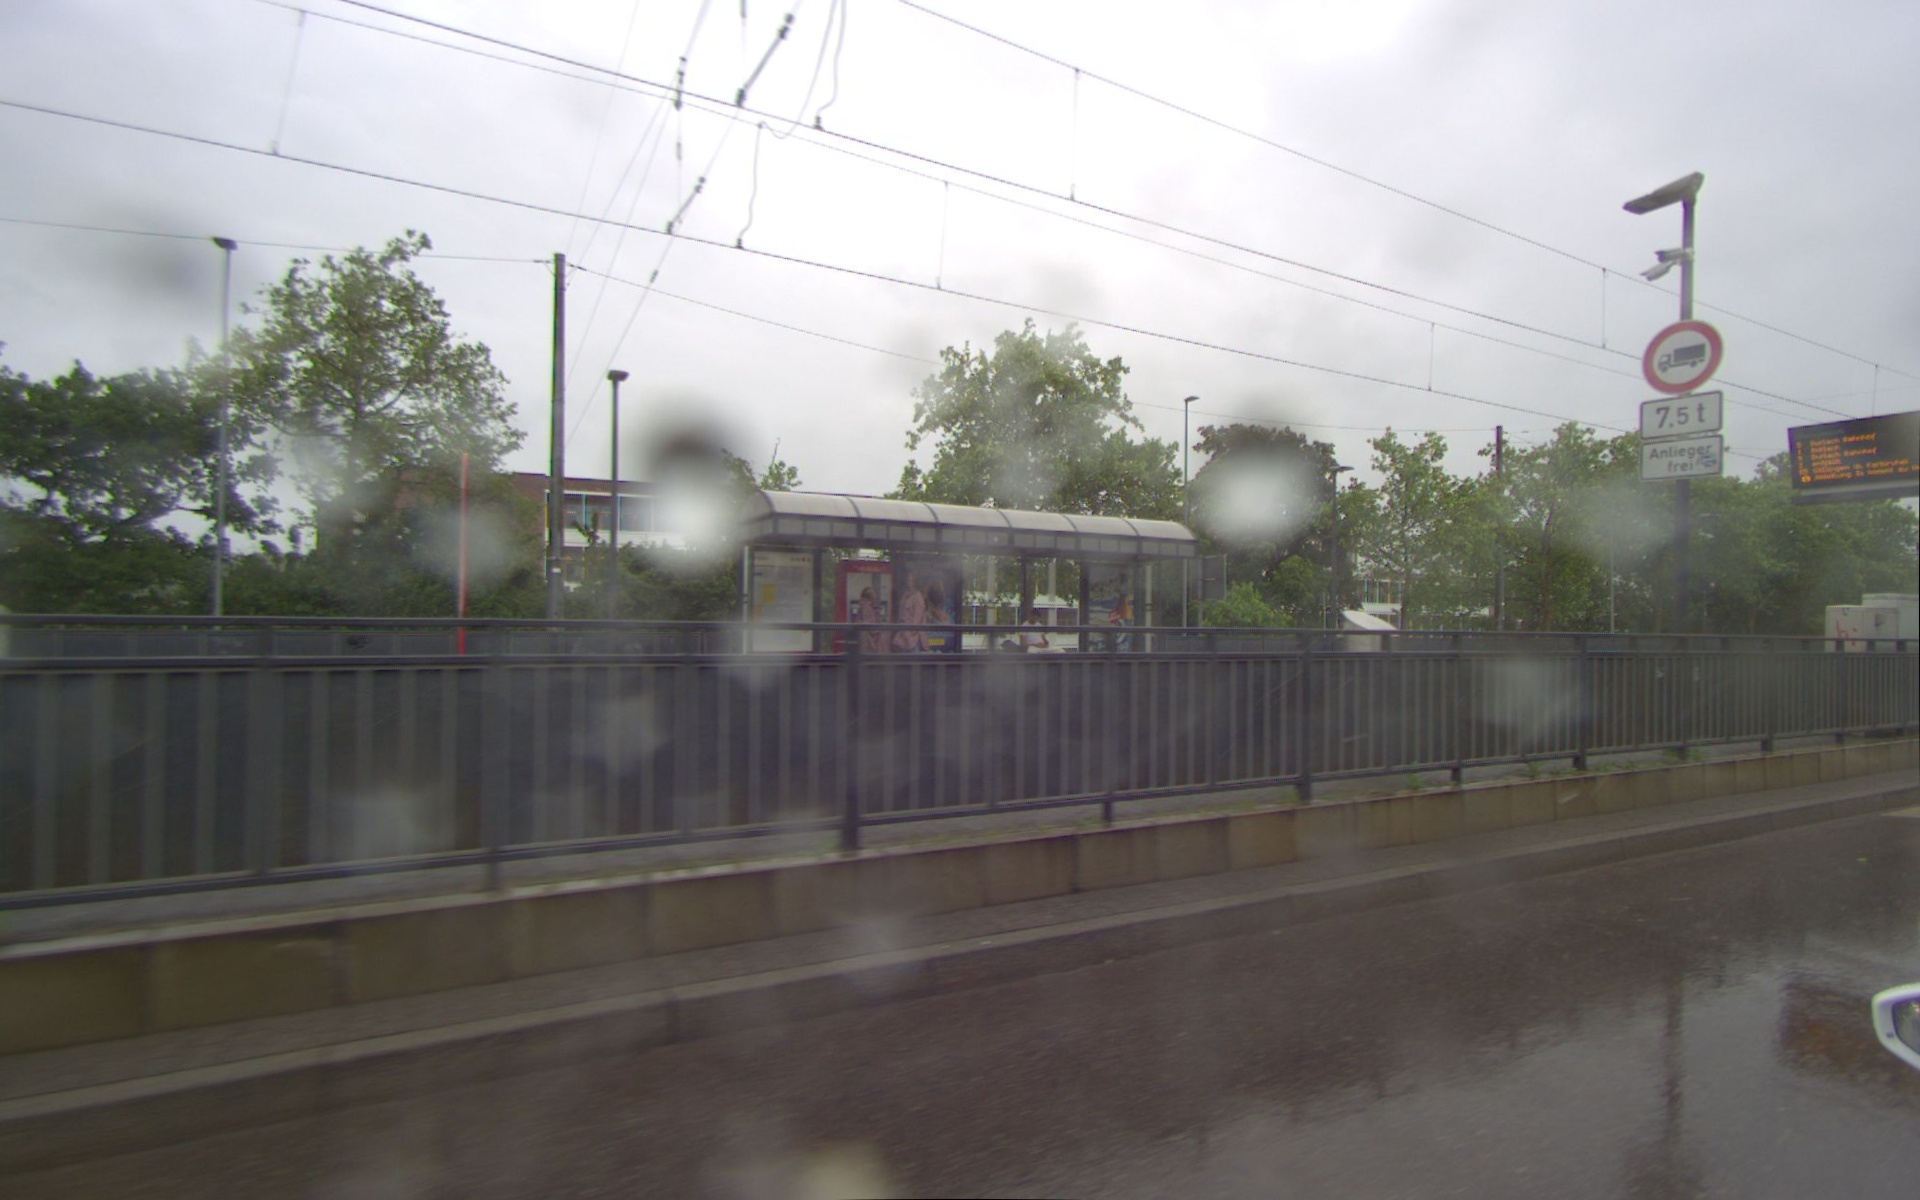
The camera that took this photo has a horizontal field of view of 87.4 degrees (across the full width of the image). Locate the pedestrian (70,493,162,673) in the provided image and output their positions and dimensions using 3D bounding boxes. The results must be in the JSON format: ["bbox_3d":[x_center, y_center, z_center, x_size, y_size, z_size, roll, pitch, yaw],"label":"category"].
[{"bbox_3d":[-19.881,-0.361,23.702,1.507,4.082,1.159,2,-1,-40],"label":"pedestrian"}]

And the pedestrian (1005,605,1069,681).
[{"bbox_3d":[1.406,0.770,18.423,0.847,1.334,0.827,1,0,-29],"label":"pedestrian"}]

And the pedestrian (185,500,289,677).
[{"bbox_3d":[-17.239,-0.249,23.994,1.490,4.082,1.172,2,-1,-1],"label":"pedestrian"}]
